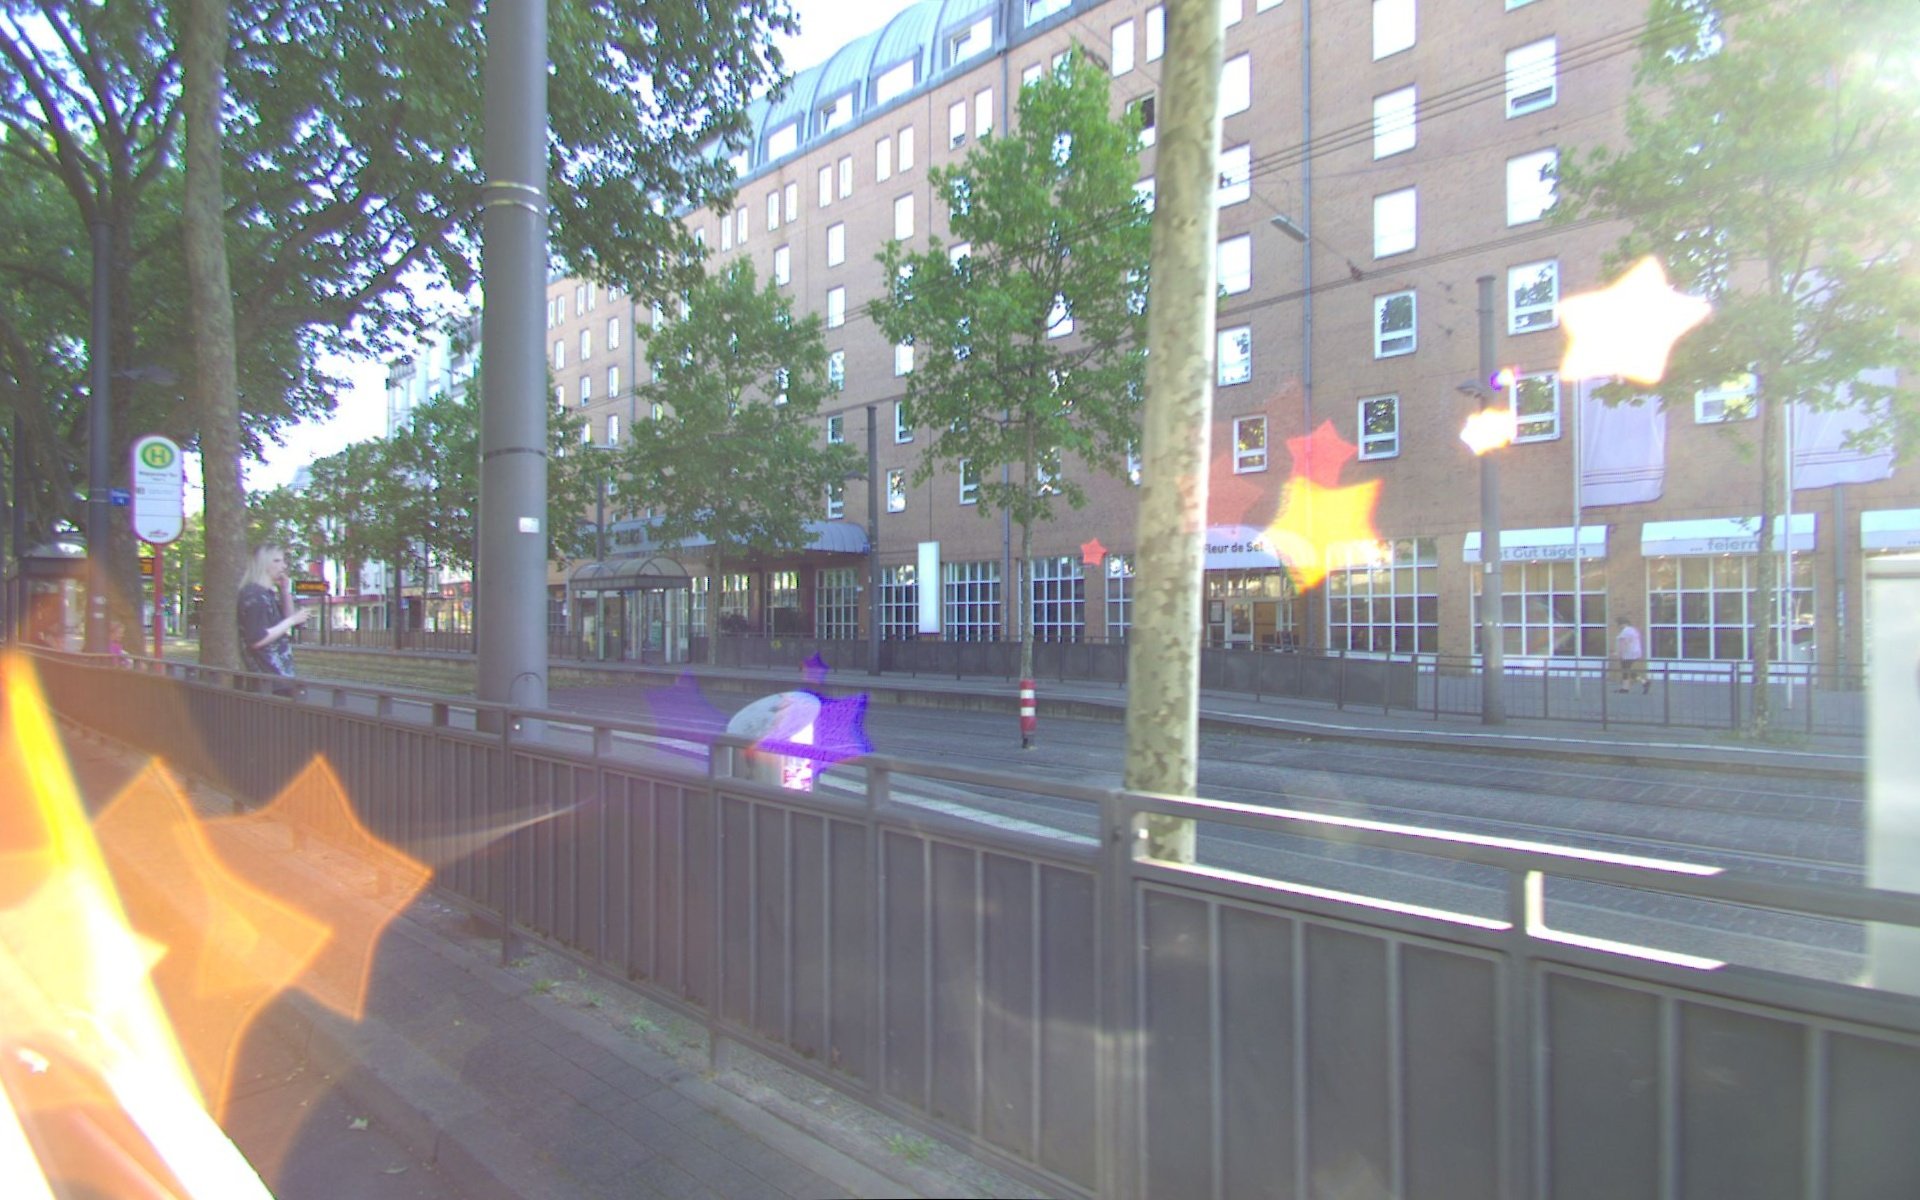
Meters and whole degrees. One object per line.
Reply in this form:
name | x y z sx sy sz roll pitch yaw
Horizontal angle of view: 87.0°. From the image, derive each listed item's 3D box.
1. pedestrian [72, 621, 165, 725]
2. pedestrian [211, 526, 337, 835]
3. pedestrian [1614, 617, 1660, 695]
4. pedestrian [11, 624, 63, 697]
pedestrian | -12.096 1.021 14.552 0.965 1.410 0.665 -1 0 -44
pedestrian | -4.556 0.498 6.714 0.759 1.914 0.504 -1 0 42
pedestrian | 14.240 1.163 21.280 0.725 1.596 0.583 -2 0 40
pedestrian | -18.233 1.176 19.997 0.725 1.398 0.641 -1 0 -44
